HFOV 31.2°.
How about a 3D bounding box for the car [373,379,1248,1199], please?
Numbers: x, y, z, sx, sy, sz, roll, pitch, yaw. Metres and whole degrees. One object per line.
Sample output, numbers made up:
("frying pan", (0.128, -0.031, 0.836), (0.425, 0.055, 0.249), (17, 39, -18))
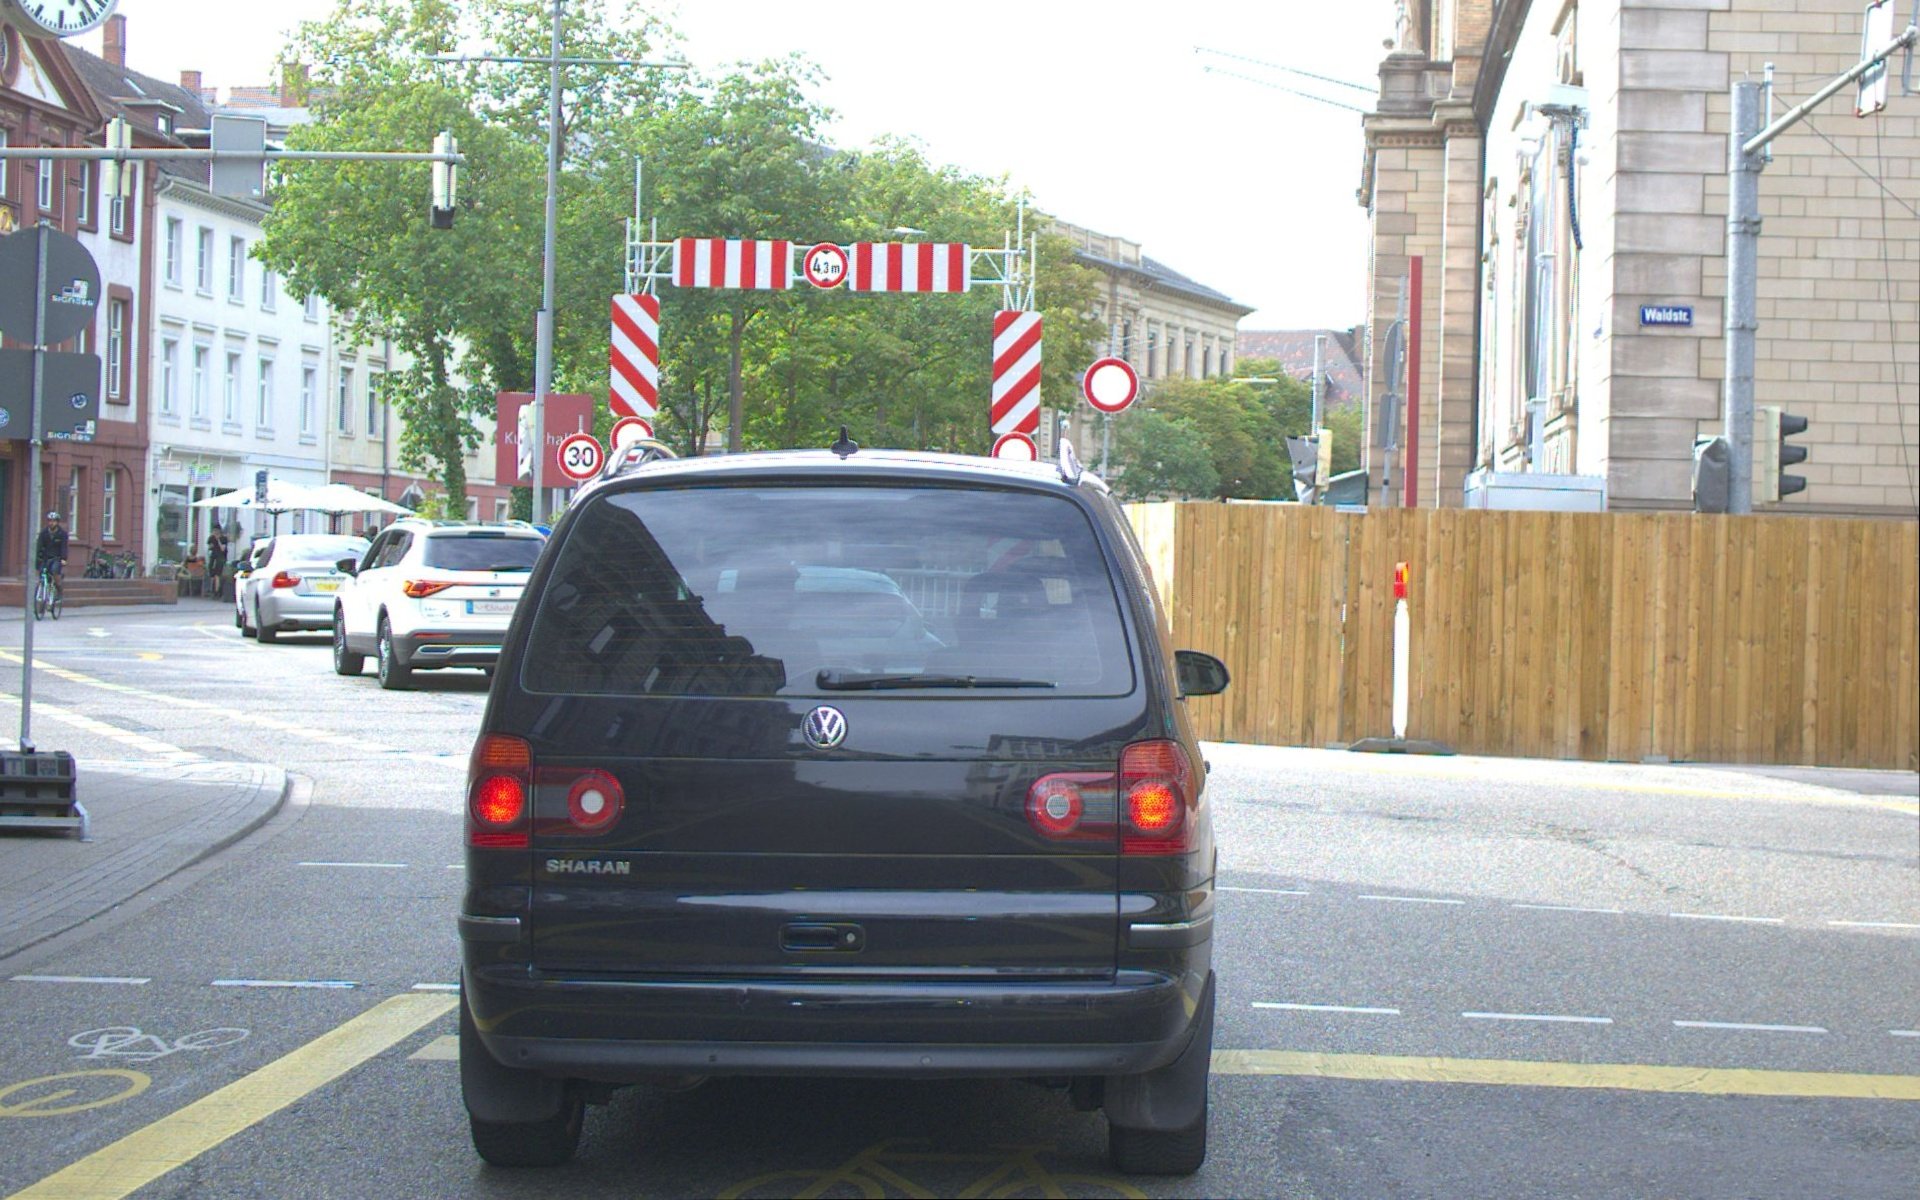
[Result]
("car", (-0.316, 0.437, 9.273), (1.789, 1.784, 4.103), (2, 0, 0))

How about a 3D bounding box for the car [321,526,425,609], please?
("car", (-11.814, -0.656, 69.359), (1.773, 1.580, 4.001), (1, 0, -6))

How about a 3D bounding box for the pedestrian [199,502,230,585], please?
("pedestrian", (-18.262, -1.380, 84.216), (0.585, 2.007, 0.686), (1, 0, 1))

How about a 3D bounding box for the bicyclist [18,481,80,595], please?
("bicyclist", (-16.008, -1.088, 60.436), (0.925, 1.956, 1.106), (1, 0, -10))

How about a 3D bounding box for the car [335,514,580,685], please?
("car", (-5.072, -0.022, 34.306), (1.772, 1.580, 4.001), (1, 0, -17))

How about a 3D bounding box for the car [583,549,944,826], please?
("car", (-1.279, 0.452, 20.648), (1.677, 1.464, 4.104), (2, 0, -10))

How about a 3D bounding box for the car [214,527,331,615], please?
("car", (-10.884, -0.460, 54.270), (1.649, 1.317, 3.676), (1, 0, -13))

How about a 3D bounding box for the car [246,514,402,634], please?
("car", (-8.485, -0.350, 45.683), (1.703, 1.496, 4.001), (1, 0, -15))

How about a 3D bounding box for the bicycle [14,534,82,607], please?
("bicycle", (-16.021, -0.522, 60.453), (0.925, 1.251, 2.542), (1, 0, -10))
